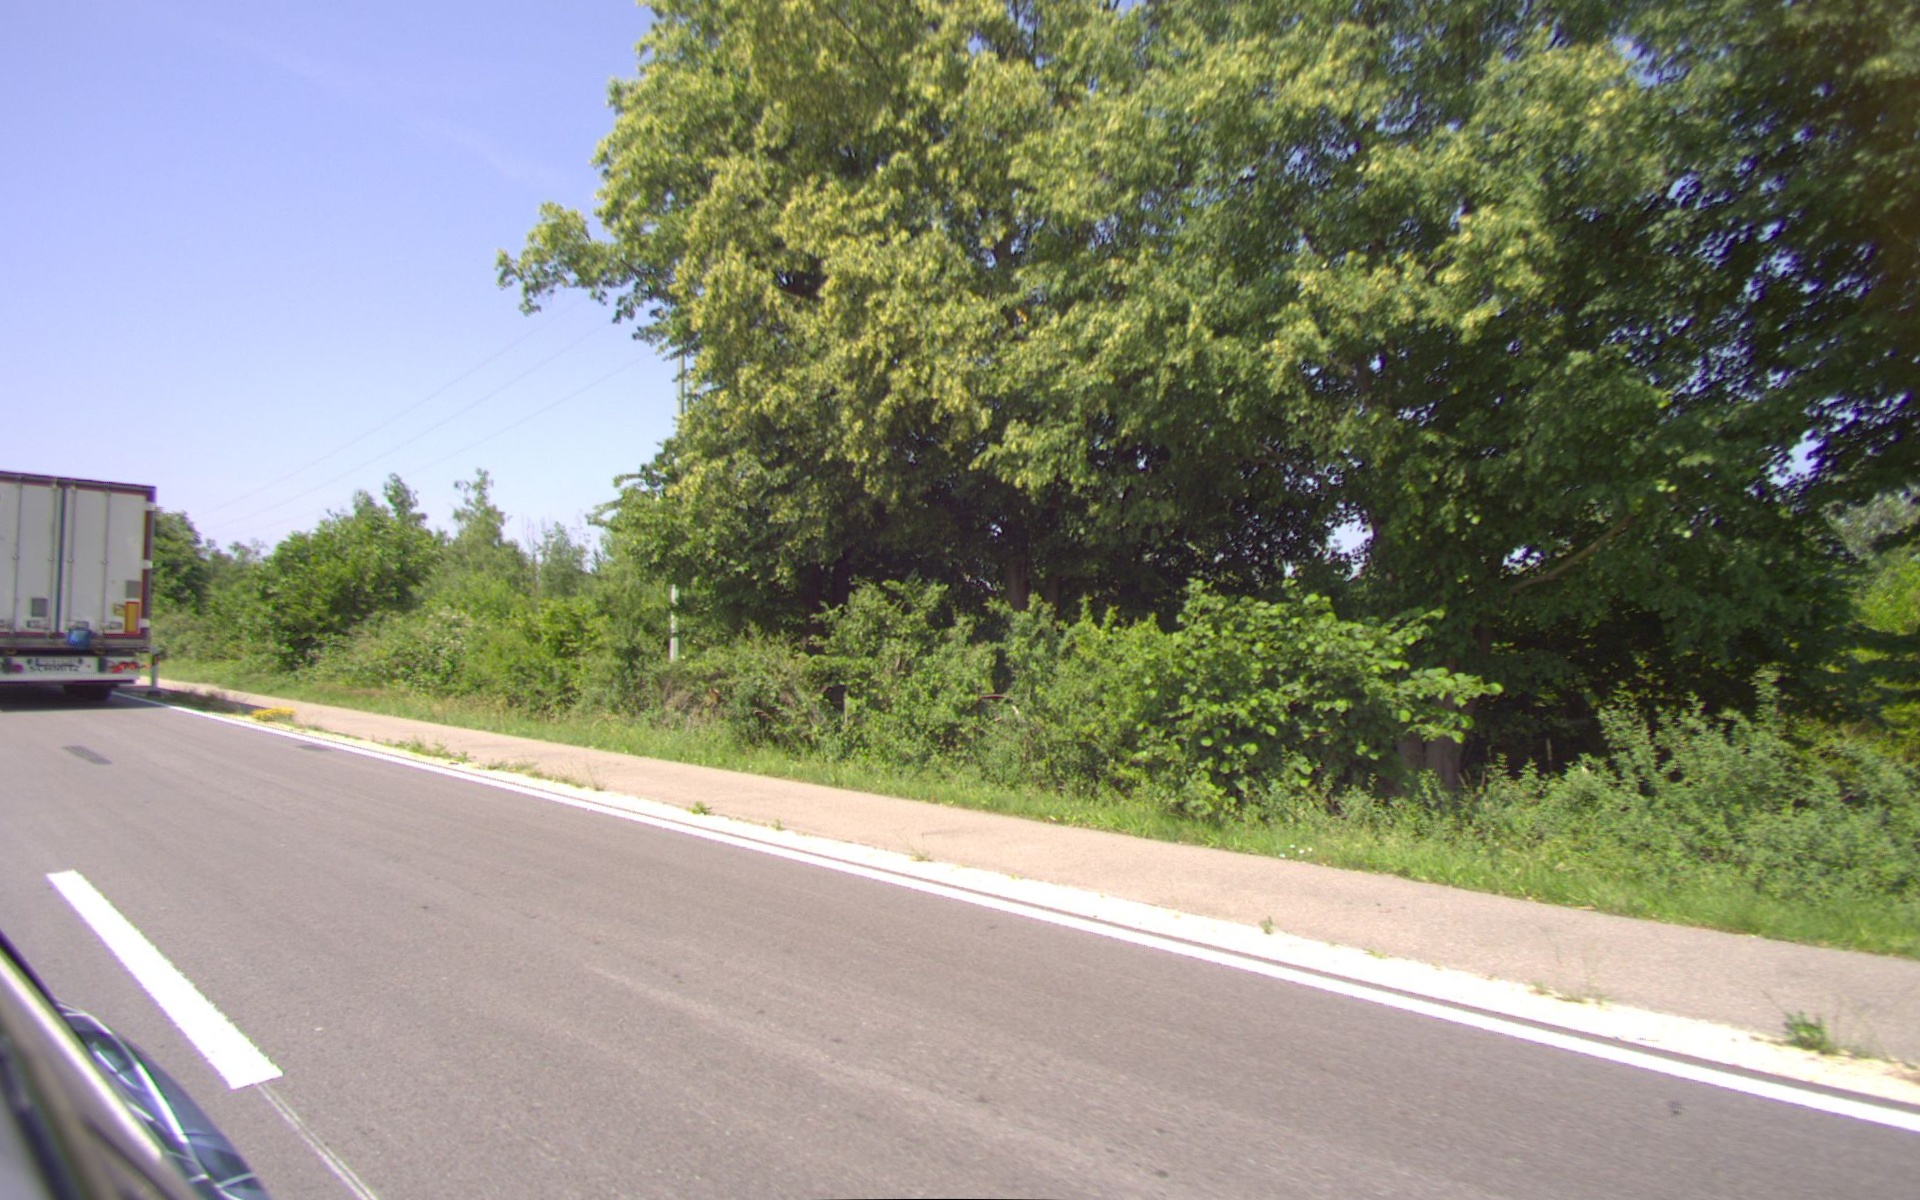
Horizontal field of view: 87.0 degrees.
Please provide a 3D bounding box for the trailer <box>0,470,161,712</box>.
[{"bbox_3d":[-20.384,0.009,21.725,13.348,4.008,2.625,-1,-3,42],"label":"trailer"}]

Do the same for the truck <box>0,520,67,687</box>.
[{"bbox_3d":[-25.349,0.136,26.119,5.725,4.008,2.628,-2,-3,41],"label":"truck"}]
